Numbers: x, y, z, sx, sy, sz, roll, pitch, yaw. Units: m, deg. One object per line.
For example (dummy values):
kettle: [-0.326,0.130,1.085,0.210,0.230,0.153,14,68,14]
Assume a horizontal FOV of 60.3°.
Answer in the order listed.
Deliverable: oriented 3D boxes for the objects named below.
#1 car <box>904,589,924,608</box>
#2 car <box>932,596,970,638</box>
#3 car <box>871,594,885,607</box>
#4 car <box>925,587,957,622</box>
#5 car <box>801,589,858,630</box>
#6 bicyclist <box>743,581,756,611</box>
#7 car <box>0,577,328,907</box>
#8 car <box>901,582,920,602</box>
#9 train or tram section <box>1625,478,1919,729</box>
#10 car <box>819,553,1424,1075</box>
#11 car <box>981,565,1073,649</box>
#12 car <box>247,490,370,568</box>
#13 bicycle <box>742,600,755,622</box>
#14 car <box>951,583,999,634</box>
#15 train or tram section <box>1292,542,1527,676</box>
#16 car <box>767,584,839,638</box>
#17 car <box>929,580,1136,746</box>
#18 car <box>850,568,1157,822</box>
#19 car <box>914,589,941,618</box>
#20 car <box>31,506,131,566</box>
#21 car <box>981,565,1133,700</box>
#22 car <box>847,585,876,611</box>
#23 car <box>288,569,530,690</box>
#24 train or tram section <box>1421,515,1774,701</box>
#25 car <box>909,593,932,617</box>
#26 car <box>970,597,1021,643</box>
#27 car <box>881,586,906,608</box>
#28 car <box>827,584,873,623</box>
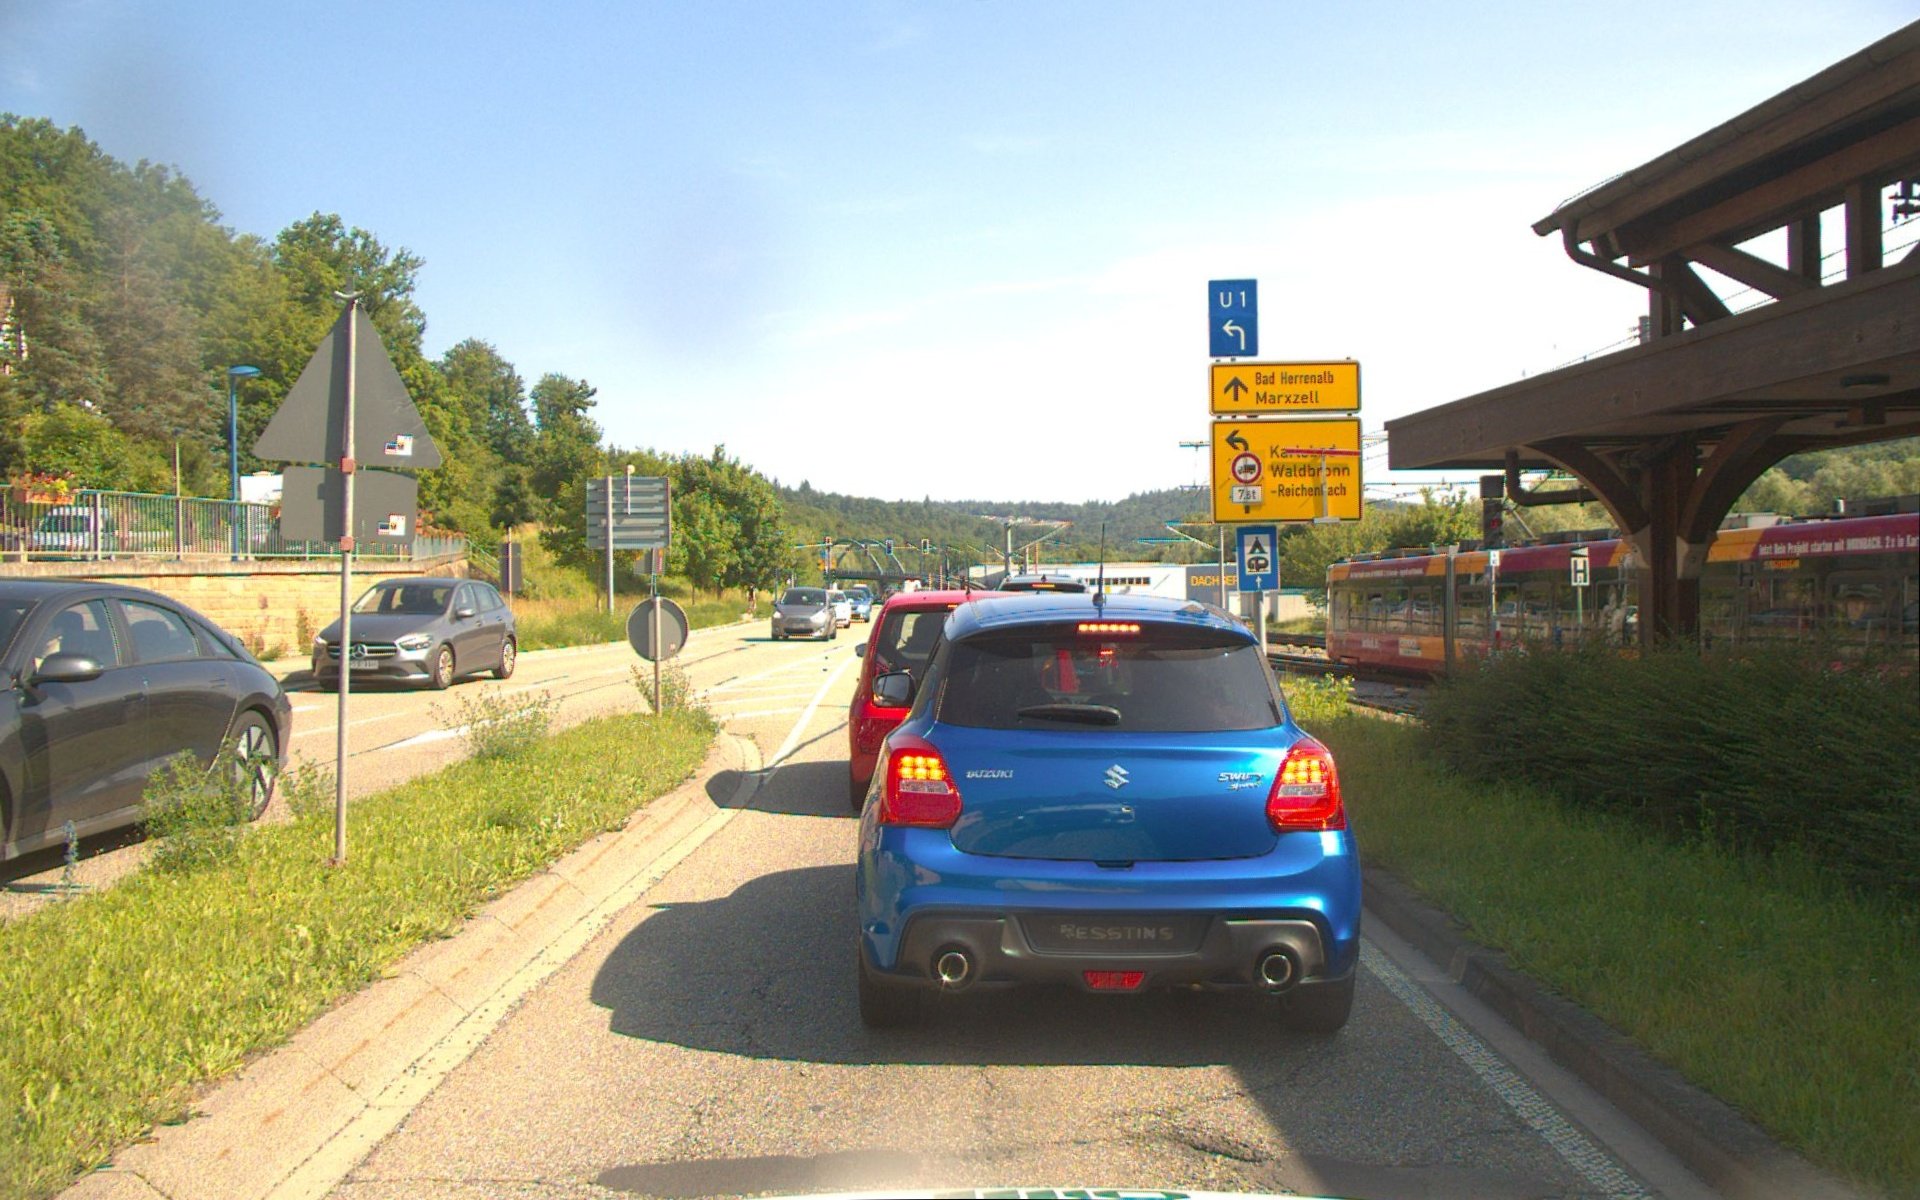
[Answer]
car: [-4.632,-0.169,167.800,1.953,1.848,4.000,2,1,-1]
car: [-0.494,0.865,87.874,1.953,2.048,4.000,2,1,-1]
car: [-12.767,0.044,258.315,1.953,2.049,3.999,1,0,-1]
car: [-1.236,0.249,105.407,1.953,2.048,4.000,2,1,-1]
car: [-4.977,0.338,63.567,1.795,1.393,3.950,1,1,1]
bicyclist: [-10.958,-0.223,86.122,0.617,1.533,0.505,2,1,-4]
car: [-5.184,0.627,8.709,1.754,1.496,4.717,0,0,2]
car: [-5.583,-0.906,186.620,1.953,2.181,4.719,1,0,-1]
train or tram section: [14.399,0.055,24.283,2.799,3.423,14.345,1,0,-3]
car: [0.444,0.637,7.022,1.830,1.575,3.999,1,0,-2]
car: [1.481,0.127,38.068,1.952,1.766,4.000,2,1,1]
car: [-17.733,-1.909,45.280,1.982,1.953,4.724,2,1,-7]
bicycle: [-10.996,0.574,86.143,0.555,1.061,1.550,2,1,-4]
car: [0.630,0.335,73.097,1.953,2.048,4.000,2,1,-1]
train or tram section: [12.921,0.137,49.082,2.702,3.422,12.037,2,1,-5]
car: [-4.471,0.293,47.438,1.637,1.466,3.840,1,0,1]
car: [0.720,0.572,17.964,1.952,1.558,4.602,0,1,1]
car: [0.306,0.609,12.690,1.952,1.598,4.000,1,0,1]
car: [-2.449,0.256,124.723,1.953,2.048,4.000,2,1,-1]
car: [-26.151,-1.868,49.323,1.864,1.658,3.982,0,1,-16]
car: [1.307,0.405,24.058,1.952,1.716,4.497,2,1,1]
car: [-7.227,-0.176,121.621,1.795,1.743,3.811,2,1,1]
car: [-7.921,0.372,24.280,1.952,1.591,4.510,0,1,1]
train or tram section: [13.710,0.153,37.196,2.731,3.423,12.041,2,0,-3]
car: [-3.540,0.436,148.042,1.953,2.048,4.000,2,1,-1]
car: [1.324,0.705,61.262,1.794,1.519,3.812,2,1,1]
car: [-5.593,-0.251,140.019,1.953,1.814,3.999,1,0,-1]
car: [-4.985,0.136,75.122,1.795,1.493,3.811,2,3,0]
